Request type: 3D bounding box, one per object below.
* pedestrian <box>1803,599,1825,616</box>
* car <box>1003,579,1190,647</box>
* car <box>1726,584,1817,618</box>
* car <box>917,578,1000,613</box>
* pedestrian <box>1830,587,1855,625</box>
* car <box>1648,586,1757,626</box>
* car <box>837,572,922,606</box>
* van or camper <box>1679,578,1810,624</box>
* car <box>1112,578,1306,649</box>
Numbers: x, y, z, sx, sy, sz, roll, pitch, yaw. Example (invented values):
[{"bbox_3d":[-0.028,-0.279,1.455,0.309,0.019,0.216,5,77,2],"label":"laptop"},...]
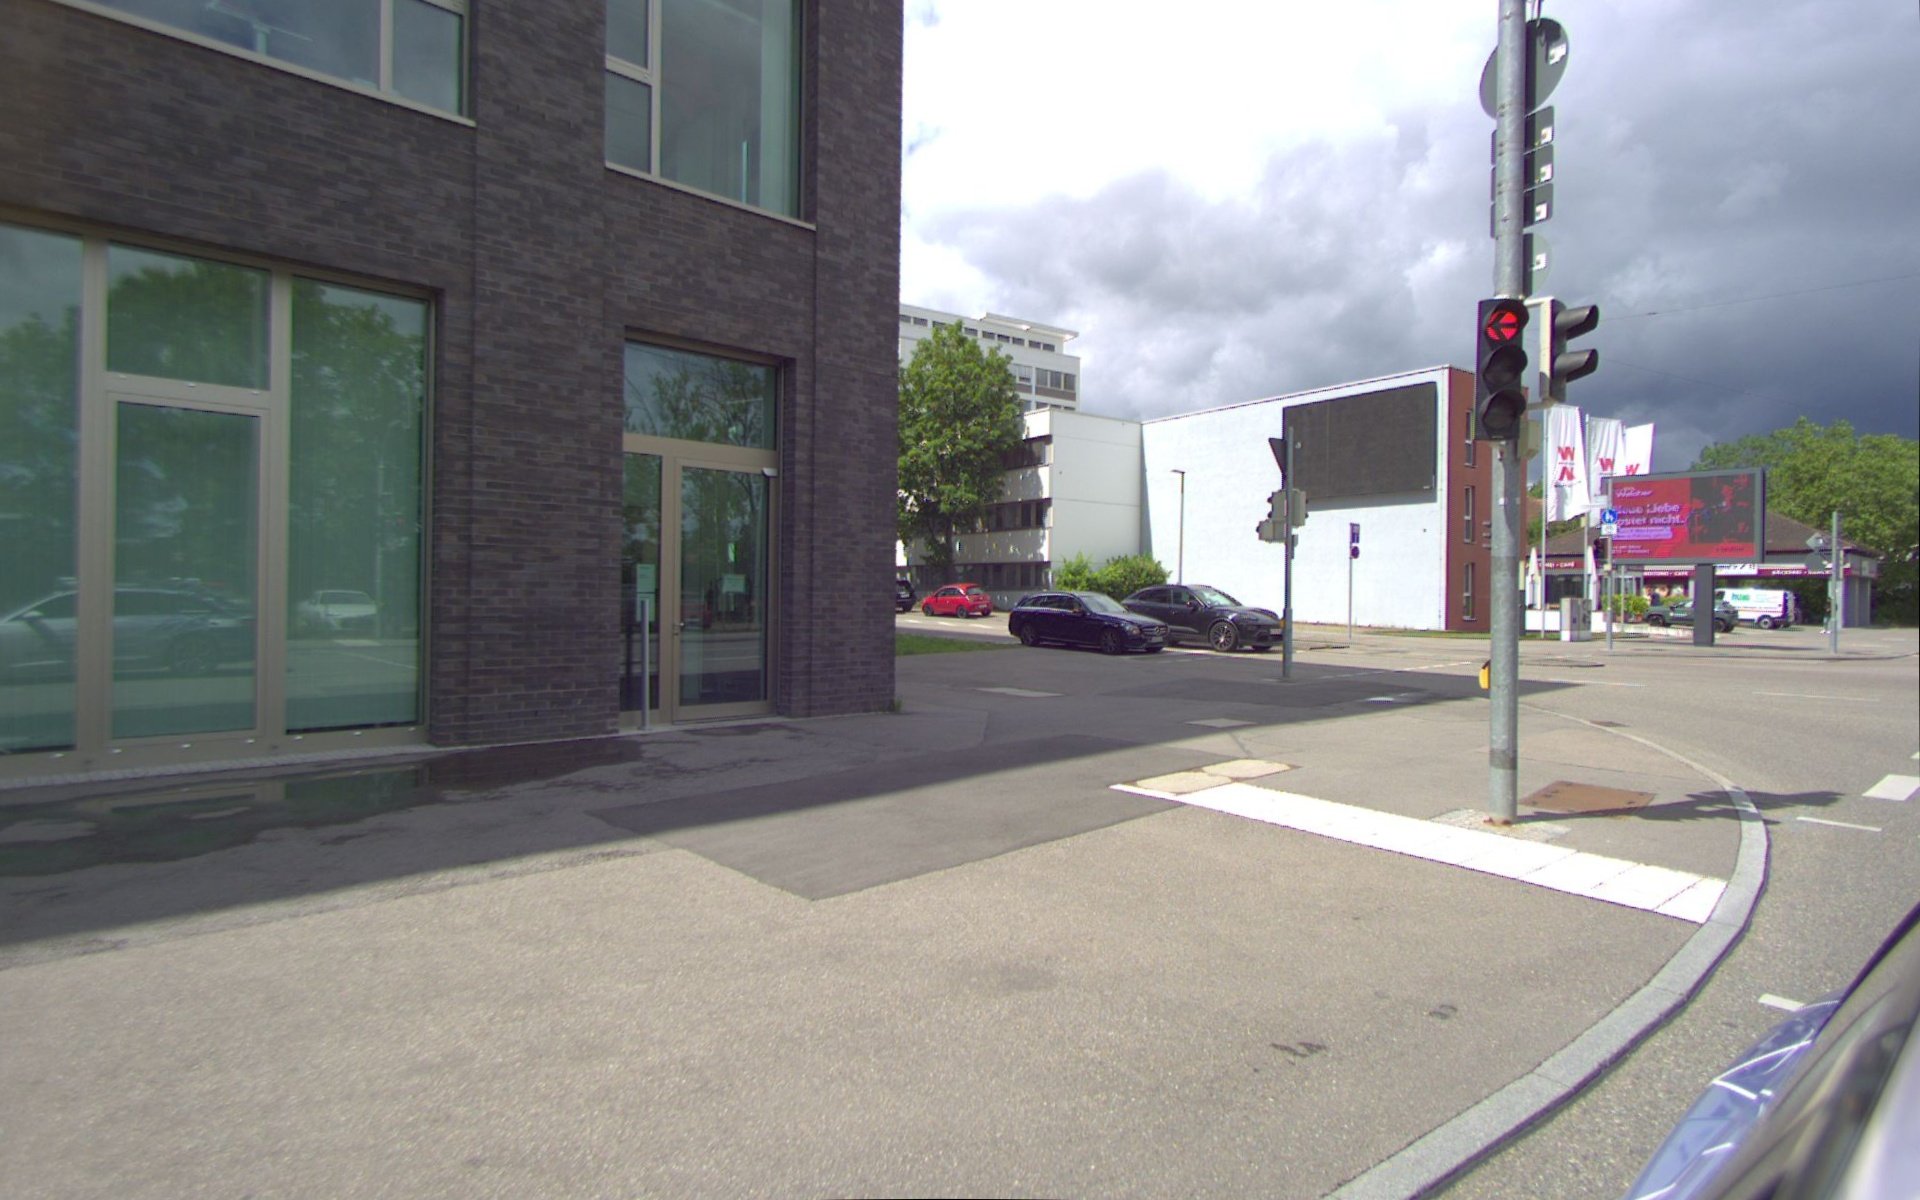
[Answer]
[{"bbox_3d":[63.034,0.545,74.698,0.945,1.264,0.888,1,0,-12],"label":"pedestrian"},{"bbox_3d":[3.331,0.255,25.443,1.965,1.511,4.534,-1,2,-40],"label":"car"},{"bbox_3d":[43.134,0.022,53.827,1.804,1.503,3.458,-1,6,-42],"label":"car"},{"bbox_3d":[-0.080,-0.233,46.391,3.669,1.480,1.718,2,1,45],"label":"car"},{"bbox_3d":[41.636,0.279,47.755,0.726,1.728,0.714,0,4,-40],"label":"pedestrian"},{"bbox_3d":[34.482,0.250,47.046,1.730,1.503,3.679,-1,5,-38],"label":"car"},{"bbox_3d":[-4.026,-0.581,50.333,4.300,1.589,1.841,2,1,45],"label":"car"},{"bbox_3d":[40.414,-0.013,52.216,2.173,1.981,4.911,-1,4,-39],"label":"van or camper"},{"bbox_3d":[6.407,0.283,26.472,1.965,1.639,4.648,0,1,-41],"label":"car"}]
